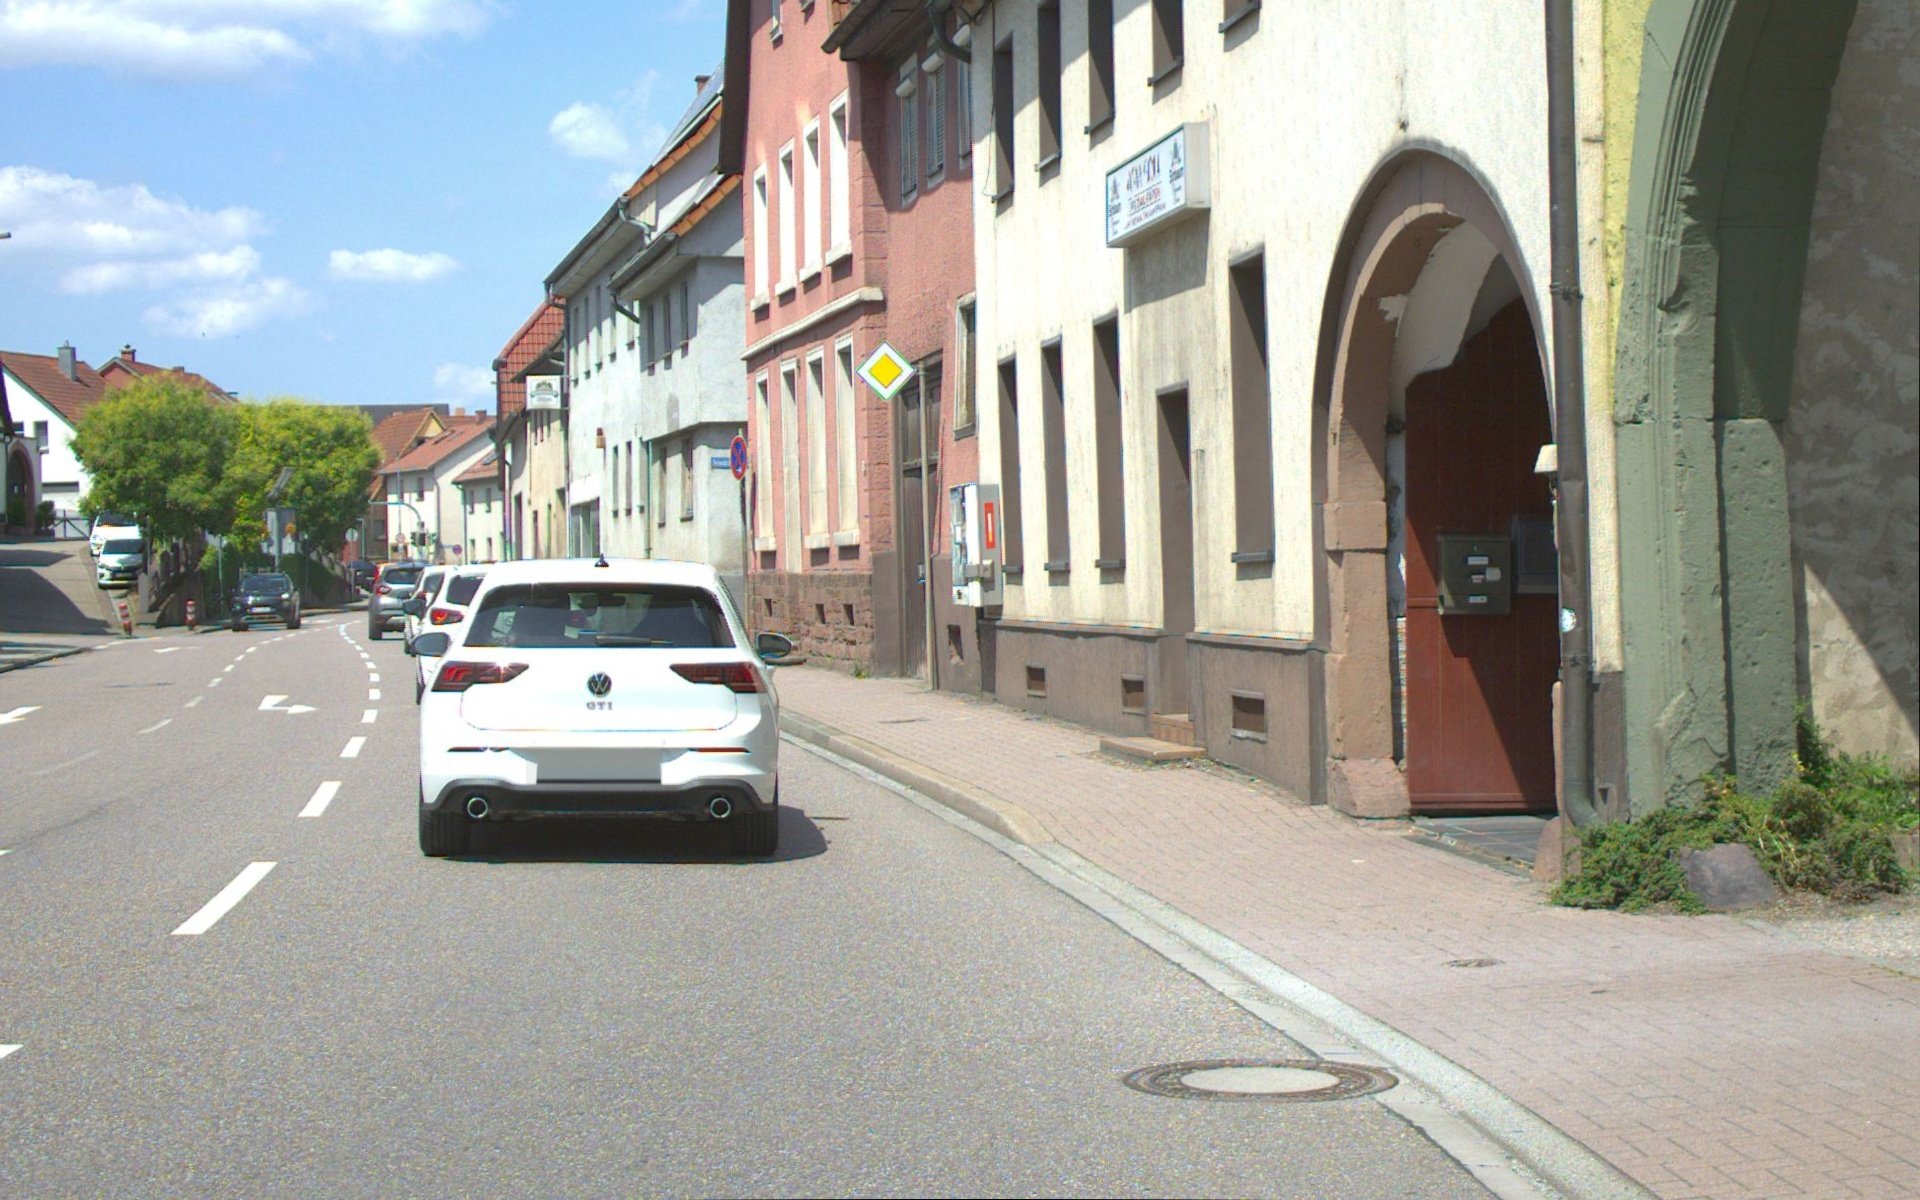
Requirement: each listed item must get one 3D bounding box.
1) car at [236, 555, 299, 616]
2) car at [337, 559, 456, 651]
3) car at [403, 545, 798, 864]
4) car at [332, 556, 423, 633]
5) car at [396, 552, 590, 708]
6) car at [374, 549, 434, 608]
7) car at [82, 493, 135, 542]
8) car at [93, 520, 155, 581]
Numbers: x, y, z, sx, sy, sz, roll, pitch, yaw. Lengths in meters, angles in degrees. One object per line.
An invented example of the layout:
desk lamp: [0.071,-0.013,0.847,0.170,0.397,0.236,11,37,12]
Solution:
car: [-19.463,-0.415,96.754,1.669,1.652,4.019,-1,1,-11]
car: [-9.368,0.074,56.948,1.807,1.462,4.001,1,0,-11]
car: [-1.829,0.483,17.969,1.807,1.462,4.001,1,0,-5]
car: [-12.116,-0.141,71.694,1.775,1.533,4.001,-1,1,-9]
car: [-4.662,0.279,34.615,1.807,1.462,4.001,1,0,-7]
car: [-17.252,-0.672,106.567,1.775,1.759,4.001,-1,1,-9]
car: [-29.209,-2.851,118.019,1.576,1.357,3.858,-1,6,-11]
car: [-25.893,-1.555,106.587,1.693,1.537,3.858,-1,6,-11]
